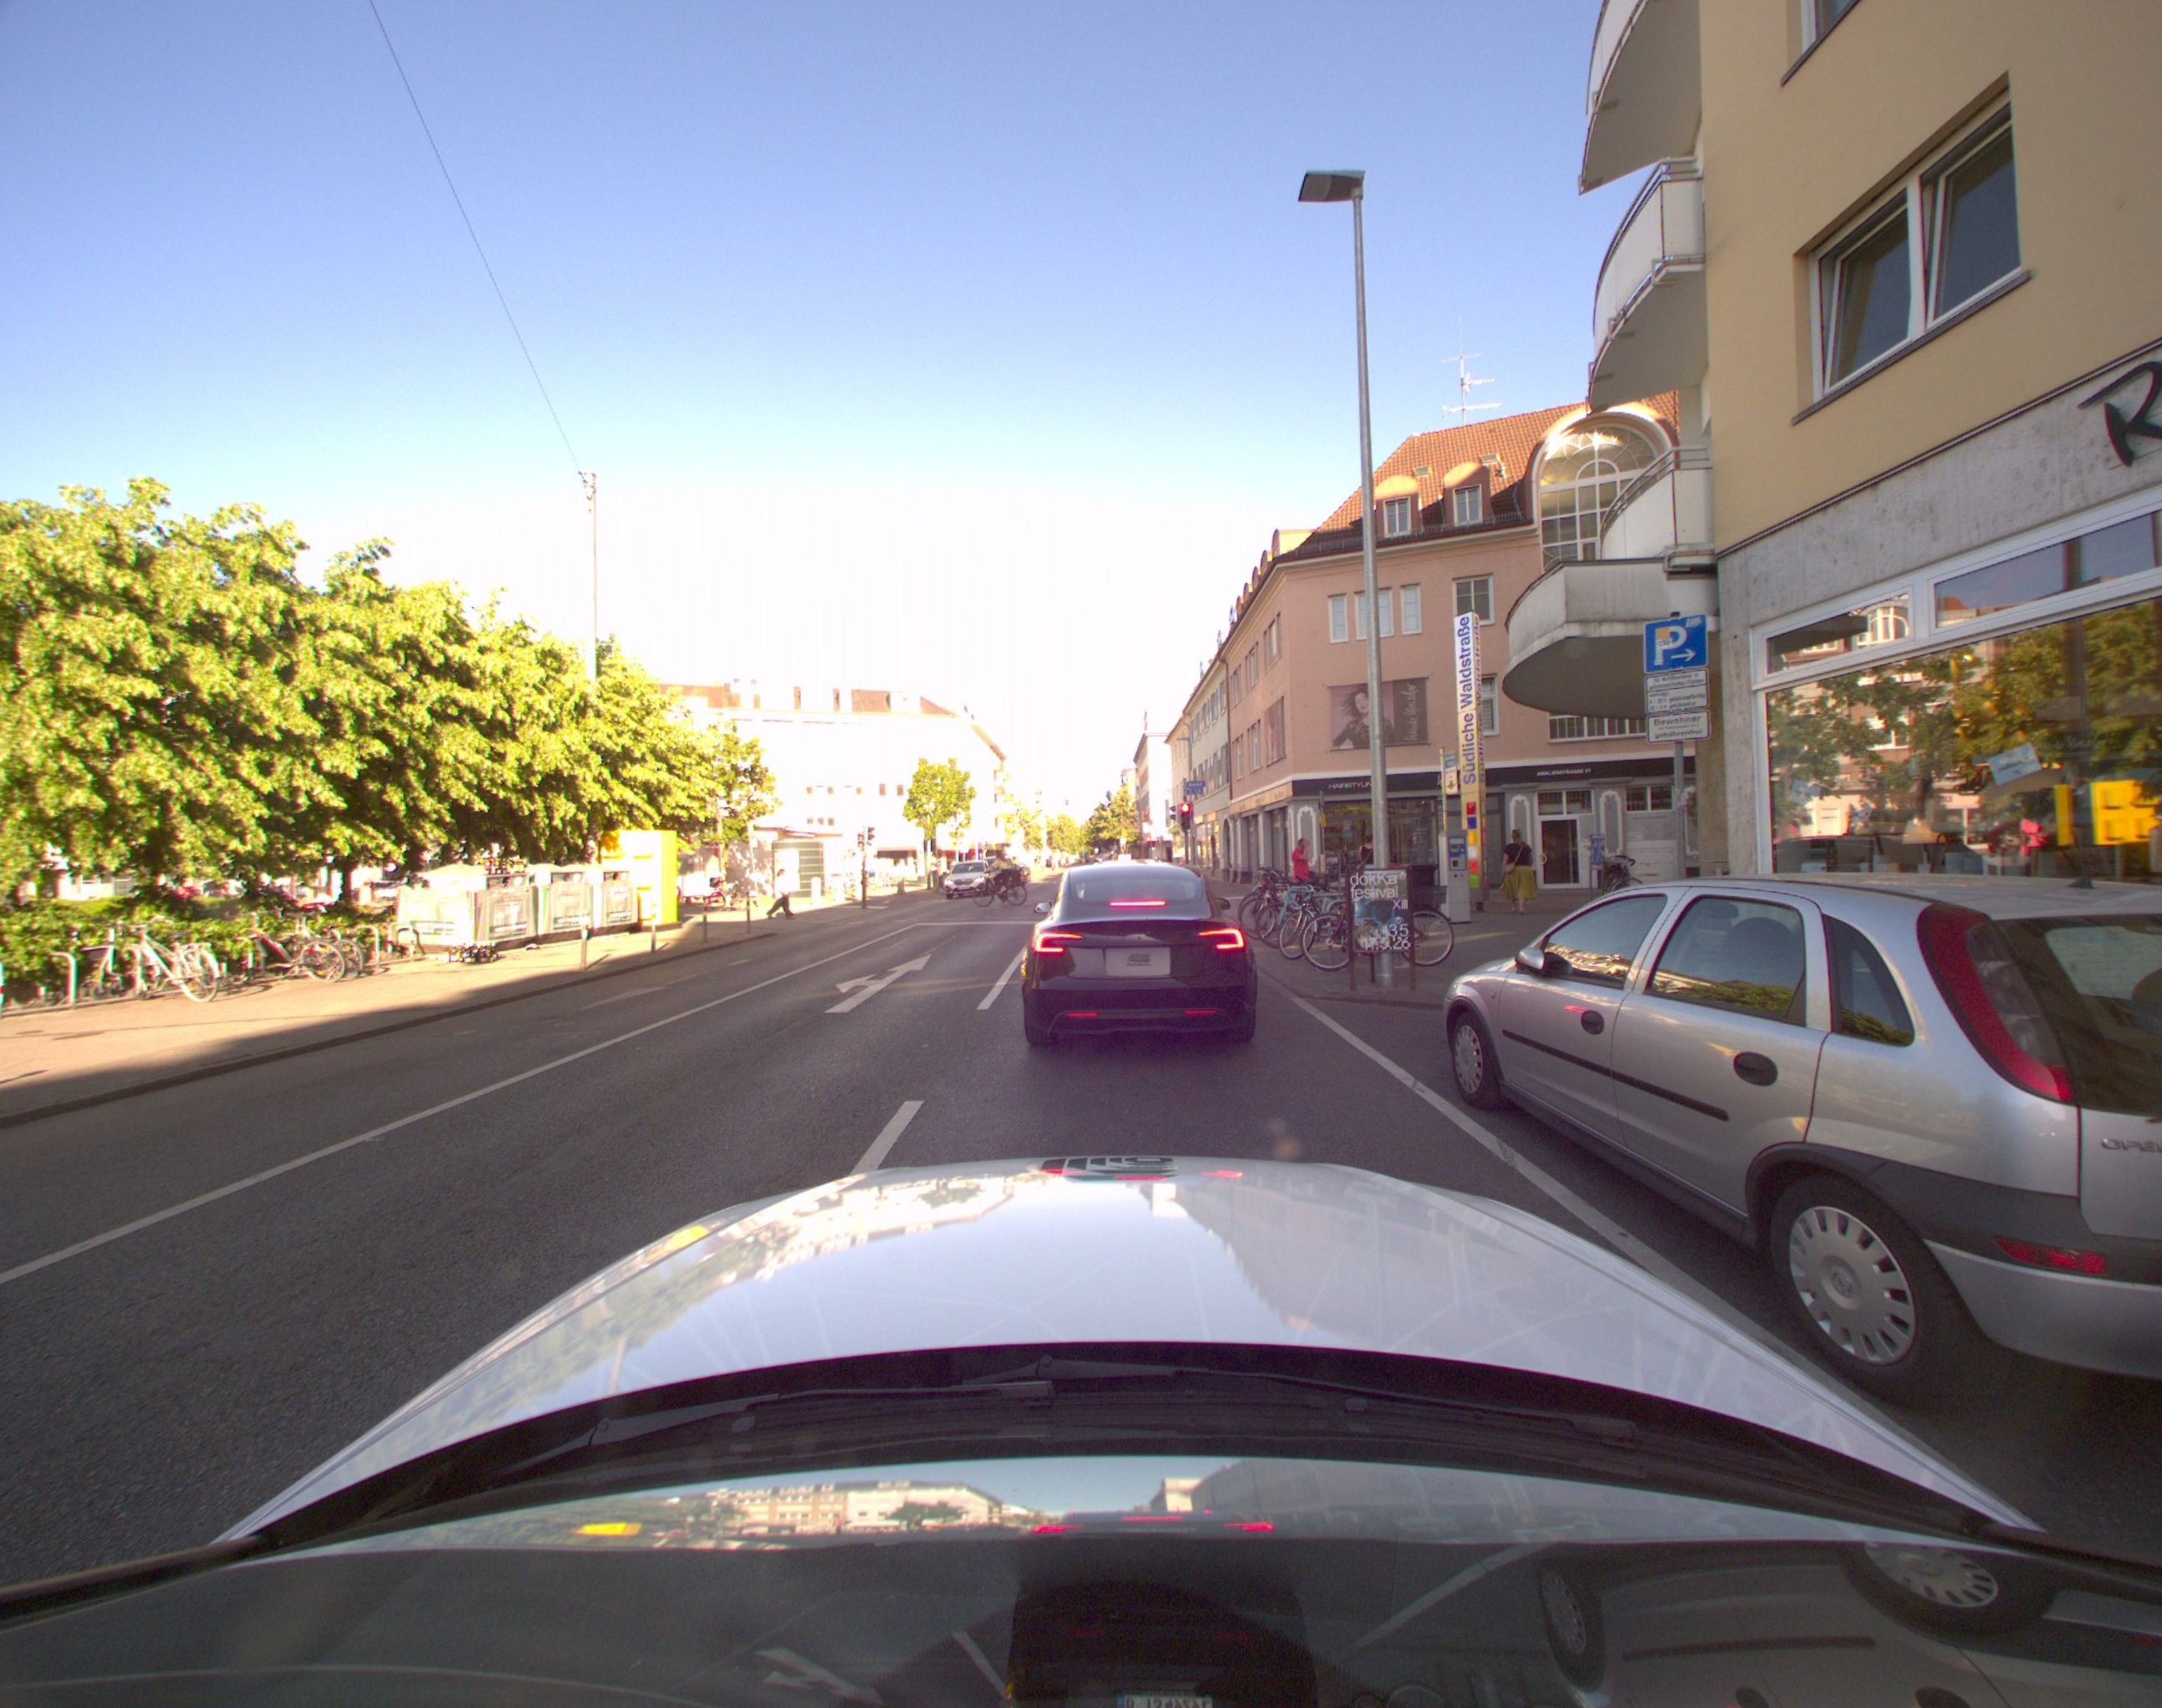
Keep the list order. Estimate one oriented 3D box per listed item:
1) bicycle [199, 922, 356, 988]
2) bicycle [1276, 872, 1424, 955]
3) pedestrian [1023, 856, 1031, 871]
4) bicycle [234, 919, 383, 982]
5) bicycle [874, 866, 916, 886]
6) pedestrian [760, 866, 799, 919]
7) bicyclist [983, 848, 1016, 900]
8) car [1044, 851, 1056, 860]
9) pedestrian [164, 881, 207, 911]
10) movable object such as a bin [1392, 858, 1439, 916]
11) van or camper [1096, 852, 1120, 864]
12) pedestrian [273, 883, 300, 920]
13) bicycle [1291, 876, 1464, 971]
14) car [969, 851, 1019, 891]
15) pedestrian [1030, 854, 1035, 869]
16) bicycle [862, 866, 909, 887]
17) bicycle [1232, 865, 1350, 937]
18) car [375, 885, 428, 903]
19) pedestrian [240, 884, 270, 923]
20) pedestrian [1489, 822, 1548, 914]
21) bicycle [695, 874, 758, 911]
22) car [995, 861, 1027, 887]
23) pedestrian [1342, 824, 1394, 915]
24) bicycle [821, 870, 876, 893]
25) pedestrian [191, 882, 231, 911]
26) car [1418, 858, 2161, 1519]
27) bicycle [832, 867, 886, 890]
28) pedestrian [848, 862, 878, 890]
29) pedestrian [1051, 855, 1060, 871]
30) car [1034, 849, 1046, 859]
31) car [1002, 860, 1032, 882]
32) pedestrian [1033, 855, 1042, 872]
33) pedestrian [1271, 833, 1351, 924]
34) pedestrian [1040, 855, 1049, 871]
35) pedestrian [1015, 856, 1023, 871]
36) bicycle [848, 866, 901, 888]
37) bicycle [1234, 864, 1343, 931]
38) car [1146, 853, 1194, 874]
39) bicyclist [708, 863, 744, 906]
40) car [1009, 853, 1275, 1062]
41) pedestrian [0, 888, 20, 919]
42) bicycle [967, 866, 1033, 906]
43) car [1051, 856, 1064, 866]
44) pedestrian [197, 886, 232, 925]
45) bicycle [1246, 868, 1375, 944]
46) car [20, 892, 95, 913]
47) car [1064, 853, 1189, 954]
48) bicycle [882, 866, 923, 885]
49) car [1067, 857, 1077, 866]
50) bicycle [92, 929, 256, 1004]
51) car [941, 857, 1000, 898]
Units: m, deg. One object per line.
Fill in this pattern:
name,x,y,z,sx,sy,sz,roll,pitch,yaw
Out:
bicycle,-11.429,1.422,11.611,1.667,0.859,0.469,0,-1,-5
bicycle,3.654,0.797,11.164,1.806,1.060,0.653,-1,0,3
pedestrian,-6.452,1.132,97.430,0.734,1.868,0.787,0,-1,-15
bicycle,-11.464,1.423,12.110,1.663,0.859,0.469,0,-1,-5
bicycle,-12.002,1.401,52.585,2.535,1.251,0.942,0,-1,-1
pedestrian,-9.002,1.134,24.372,0.919,1.543,0.694,0,-1,-4
bicyclist,-2.584,0.632,25.911,0.821,1.614,0.581,-3,0,11
car,-7.167,0.296,188.741,2.266,2.014,4.720,0,-1,3
pedestrian,-37.752,1.775,34.333,0.926,1.214,0.873,-1,-1,17
movable object such as a bin,6.742,0.650,16.431,0.633,1.103,0.728,-4,-1,5
van or camper,5.630,0.858,167.668,4.832,2.438,1.851,-1,0,1
pedestrian,-33.318,1.995,34.138,0.553,1.508,0.611,-1,-1,17
bicycle,3.634,0.844,10.091,1.875,1.044,0.653,-2,0,3
car,-4.499,0.835,42.929,1.938,1.947,4.822,-1,0,2
pedestrian,-6.219,0.980,104.233,0.693,1.868,0.658,0,-1,-3
bicycle,-12.057,1.387,50.309,2.655,1.259,0.942,0,-1,-1
bicycle,3.494,0.775,13.650,1.806,1.152,0.653,-1,0,3
car,-50.438,2.977,60.487,2.758,1.266,1.234,0,-1,-23
pedestrian,-33.780,2.012,33.305,0.827,1.520,0.782,-1,-1,38
pedestrian,8.771,0.278,16.359,0.717,1.754,0.789,-4,-1,8
bicycle,-12.256,1.329,28.164,1.979,1.223,0.632,1,-2,15
car,-4.260,1.206,50.055,1.455,1.430,3.607,-5,-1,2
pedestrian,6.111,0.327,17.357,0.678,1.849,0.894,-5,-1,3
bicycle,-12.328,1.438,43.252,2.652,1.195,0.942,0,-1,-1
pedestrian,-37.756,1.836,35.330,0.857,1.214,0.905,-1,-1,20
car,2.958,0.737,3.555,1.578,1.426,3.581,0,-1,2
bicycle,-12.396,1.370,45.596,2.772,1.274,0.933,0,-1,-2
pedestrian,-12.597,1.260,47.086,1.082,1.611,1.274,-1,-1,28
pedestrian,-3.029,1.095,95.871,0.776,1.868,1.002,0,-1,-19
car,-9.023,-0.007,180.146,2.266,2.014,4.720,0,-1,3
car,-4.430,1.155,57.015,1.688,1.390,3.915,-3,-1,0
pedestrian,-5.060,1.101,94.798,0.726,1.868,0.796,-1,-1,30
pedestrian,4.528,0.462,16.052,1.067,1.719,1.100,0,-1,-39
pedestrian,-4.359,1.117,97.344,0.698,1.868,0.903,0,-1,-23
pedestrian,-7.413,1.139,97.367,0.734,1.868,0.787,0,-1,-15
bicycle,-12.158,1.363,47.992,2.867,1.270,0.942,0,-1,-1
bicycle,3.735,0.783,14.780,1.806,1.152,0.653,-1,0,3
car,8.143,0.875,74.658,4.006,1.867,1.686,-1,0,-20
bicyclist,-12.286,1.041,28.173,0.948,1.484,0.610,-1,-1,14
car,0.494,0.738,7.891,1.843,1.447,4.453,0,0,2
pedestrian,-66.787,3.045,50.236,1.305,1.842,1.091,0,-1,-31
bicycle,-2.562,1.022,25.916,1.941,1.158,0.577,-3,-1,11
car,-4.862,1.327,166.816,2.405,1.970,4.679,-1,0,2
pedestrian,-35.225,2.071,33.122,0.928,1.520,0.924,0,-1,-43
bicycle,3.516,0.790,12.575,1.806,1.102,0.653,-1,0,3
car,-67.036,3.168,53.388,2.758,1.256,1.234,0,-1,-23
car,0.740,0.749,14.315,1.843,1.482,4.453,0,0,2
bicycle,-12.056,1.421,55.012,2.535,1.251,0.942,0,-1,-1
car,-2.001,1.784,187.437,2.124,1.970,4.135,-1,0,2
bicycle,-11.464,1.416,10.314,1.560,0.886,0.470,0,-1,1
car,-4.886,1.016,36.606,1.818,1.565,4.302,-5,-1,2
